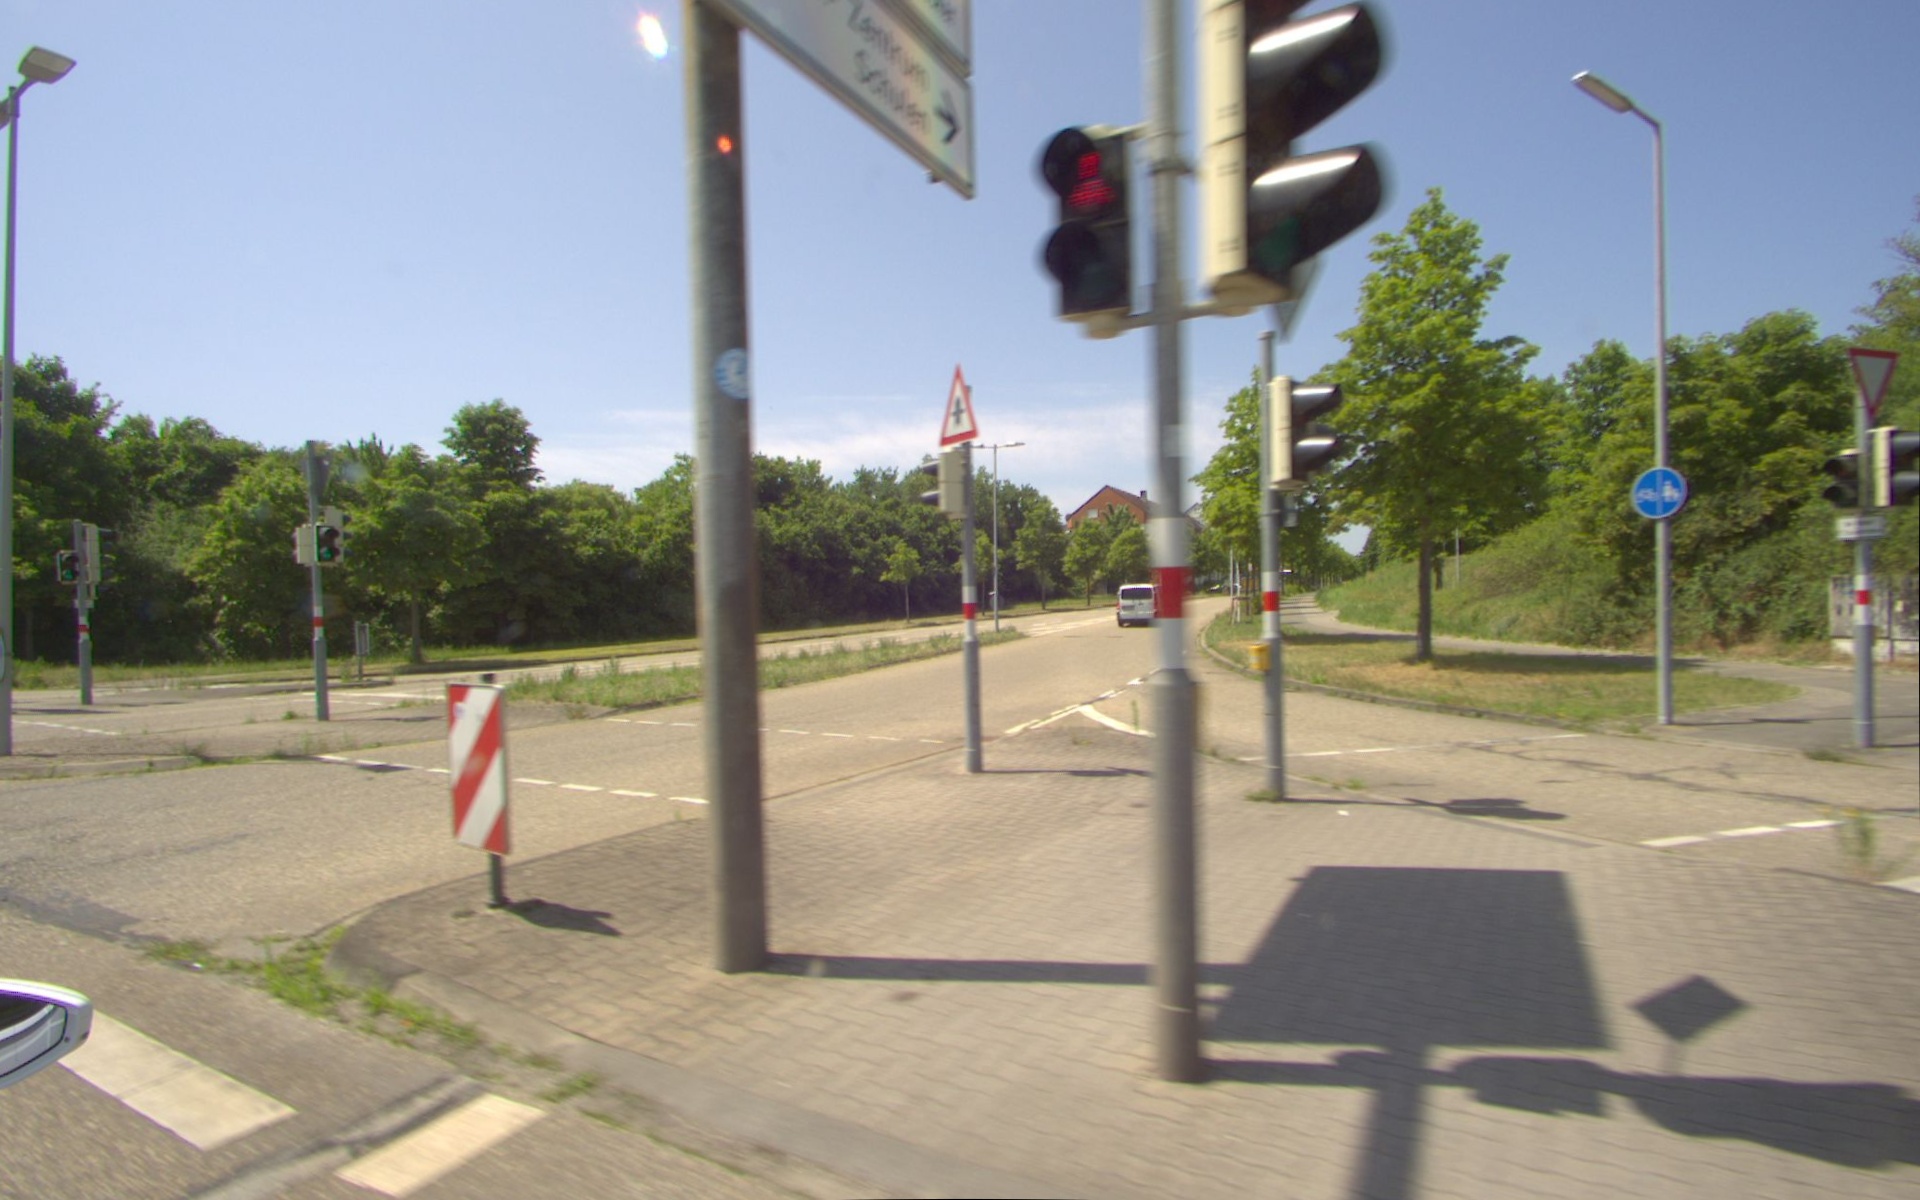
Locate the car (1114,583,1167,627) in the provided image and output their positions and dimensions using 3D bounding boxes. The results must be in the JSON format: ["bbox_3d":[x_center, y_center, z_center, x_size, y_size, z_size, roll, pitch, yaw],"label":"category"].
[{"bbox_3d":[8.245,0.182,45.451,1.832,1.843,4.898,0,2,16],"label":"car"}]
